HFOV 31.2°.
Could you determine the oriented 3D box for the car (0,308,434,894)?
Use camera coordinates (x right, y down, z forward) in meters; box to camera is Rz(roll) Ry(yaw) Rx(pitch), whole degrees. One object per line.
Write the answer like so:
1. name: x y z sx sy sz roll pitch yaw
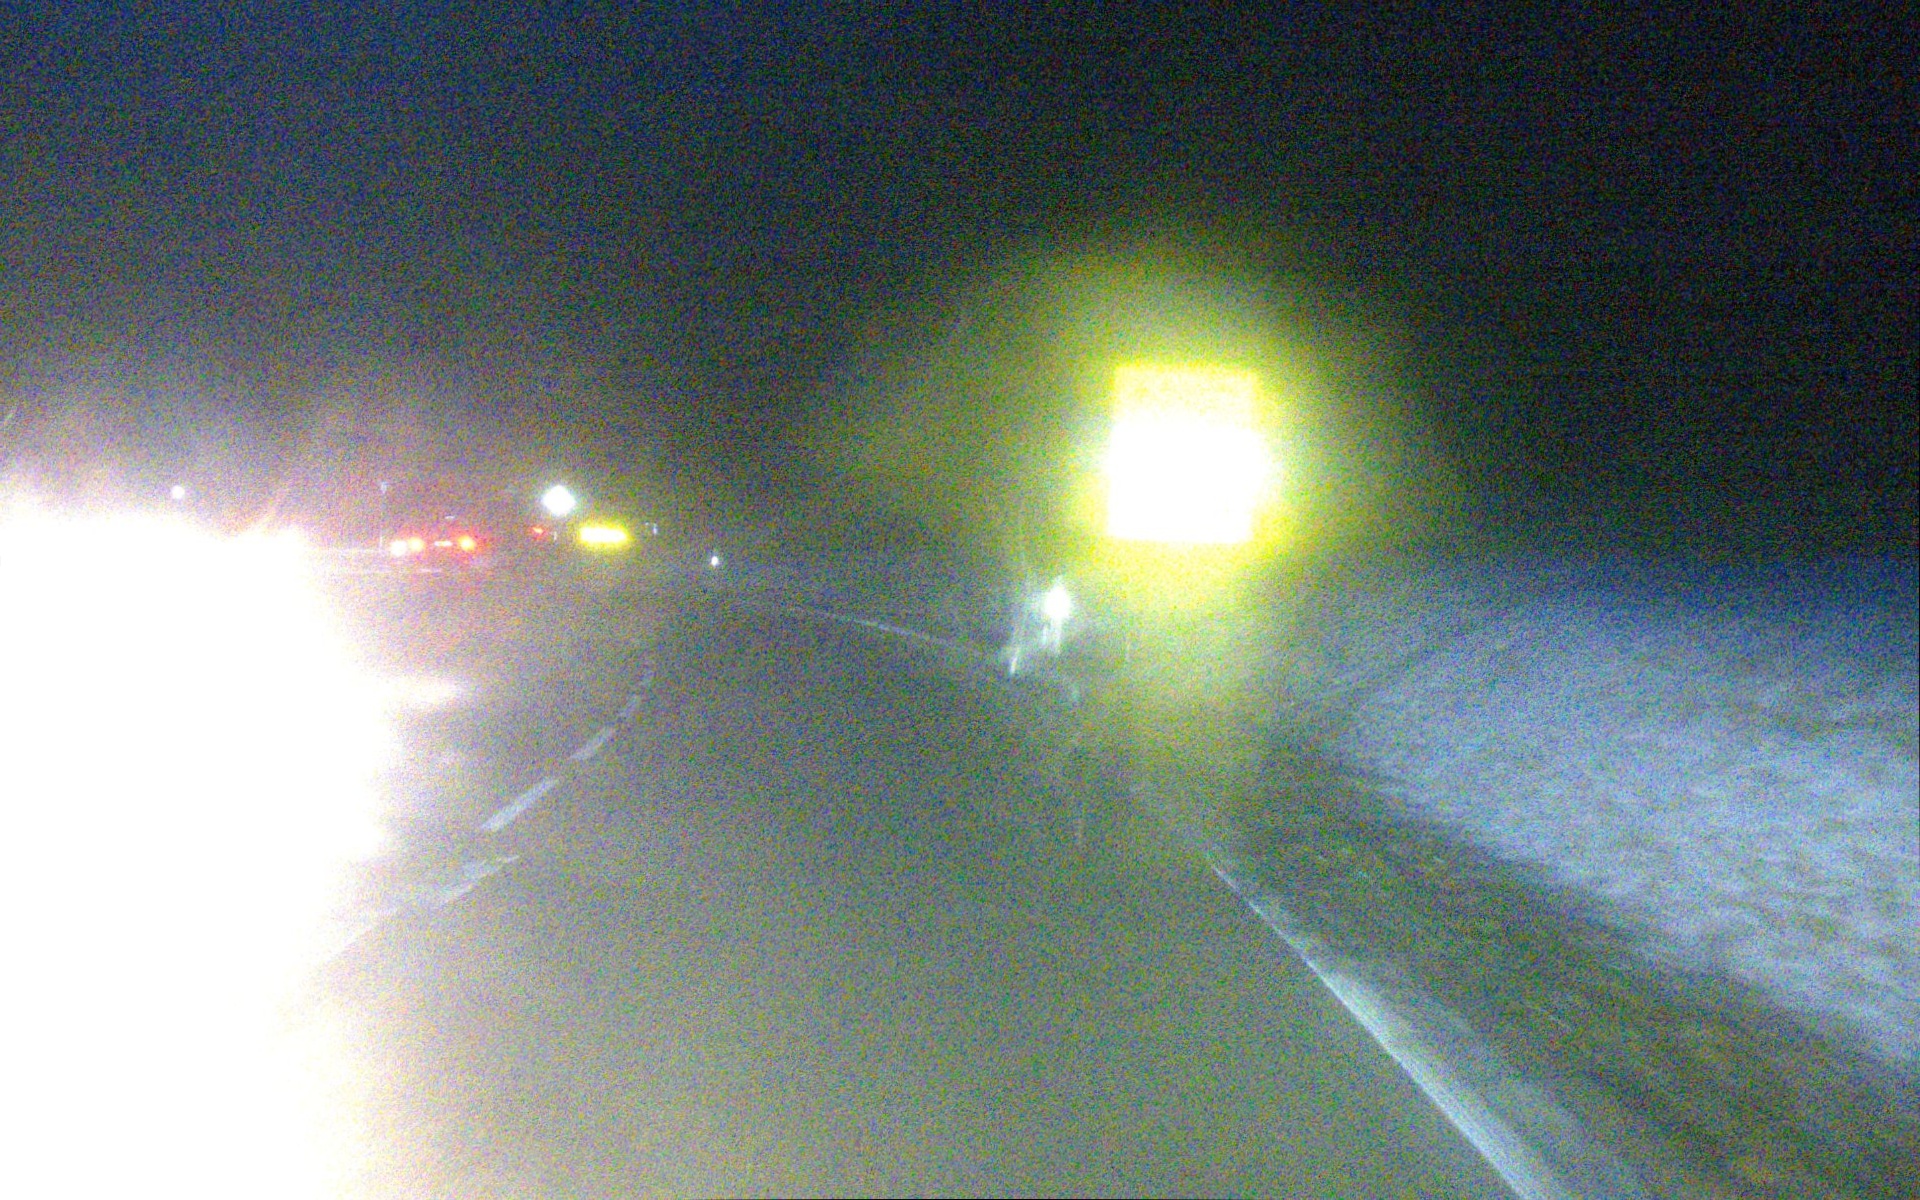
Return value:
1. car: -4.291 0.026 16.484 2.752 2.261 6.262 -1 0 -2
